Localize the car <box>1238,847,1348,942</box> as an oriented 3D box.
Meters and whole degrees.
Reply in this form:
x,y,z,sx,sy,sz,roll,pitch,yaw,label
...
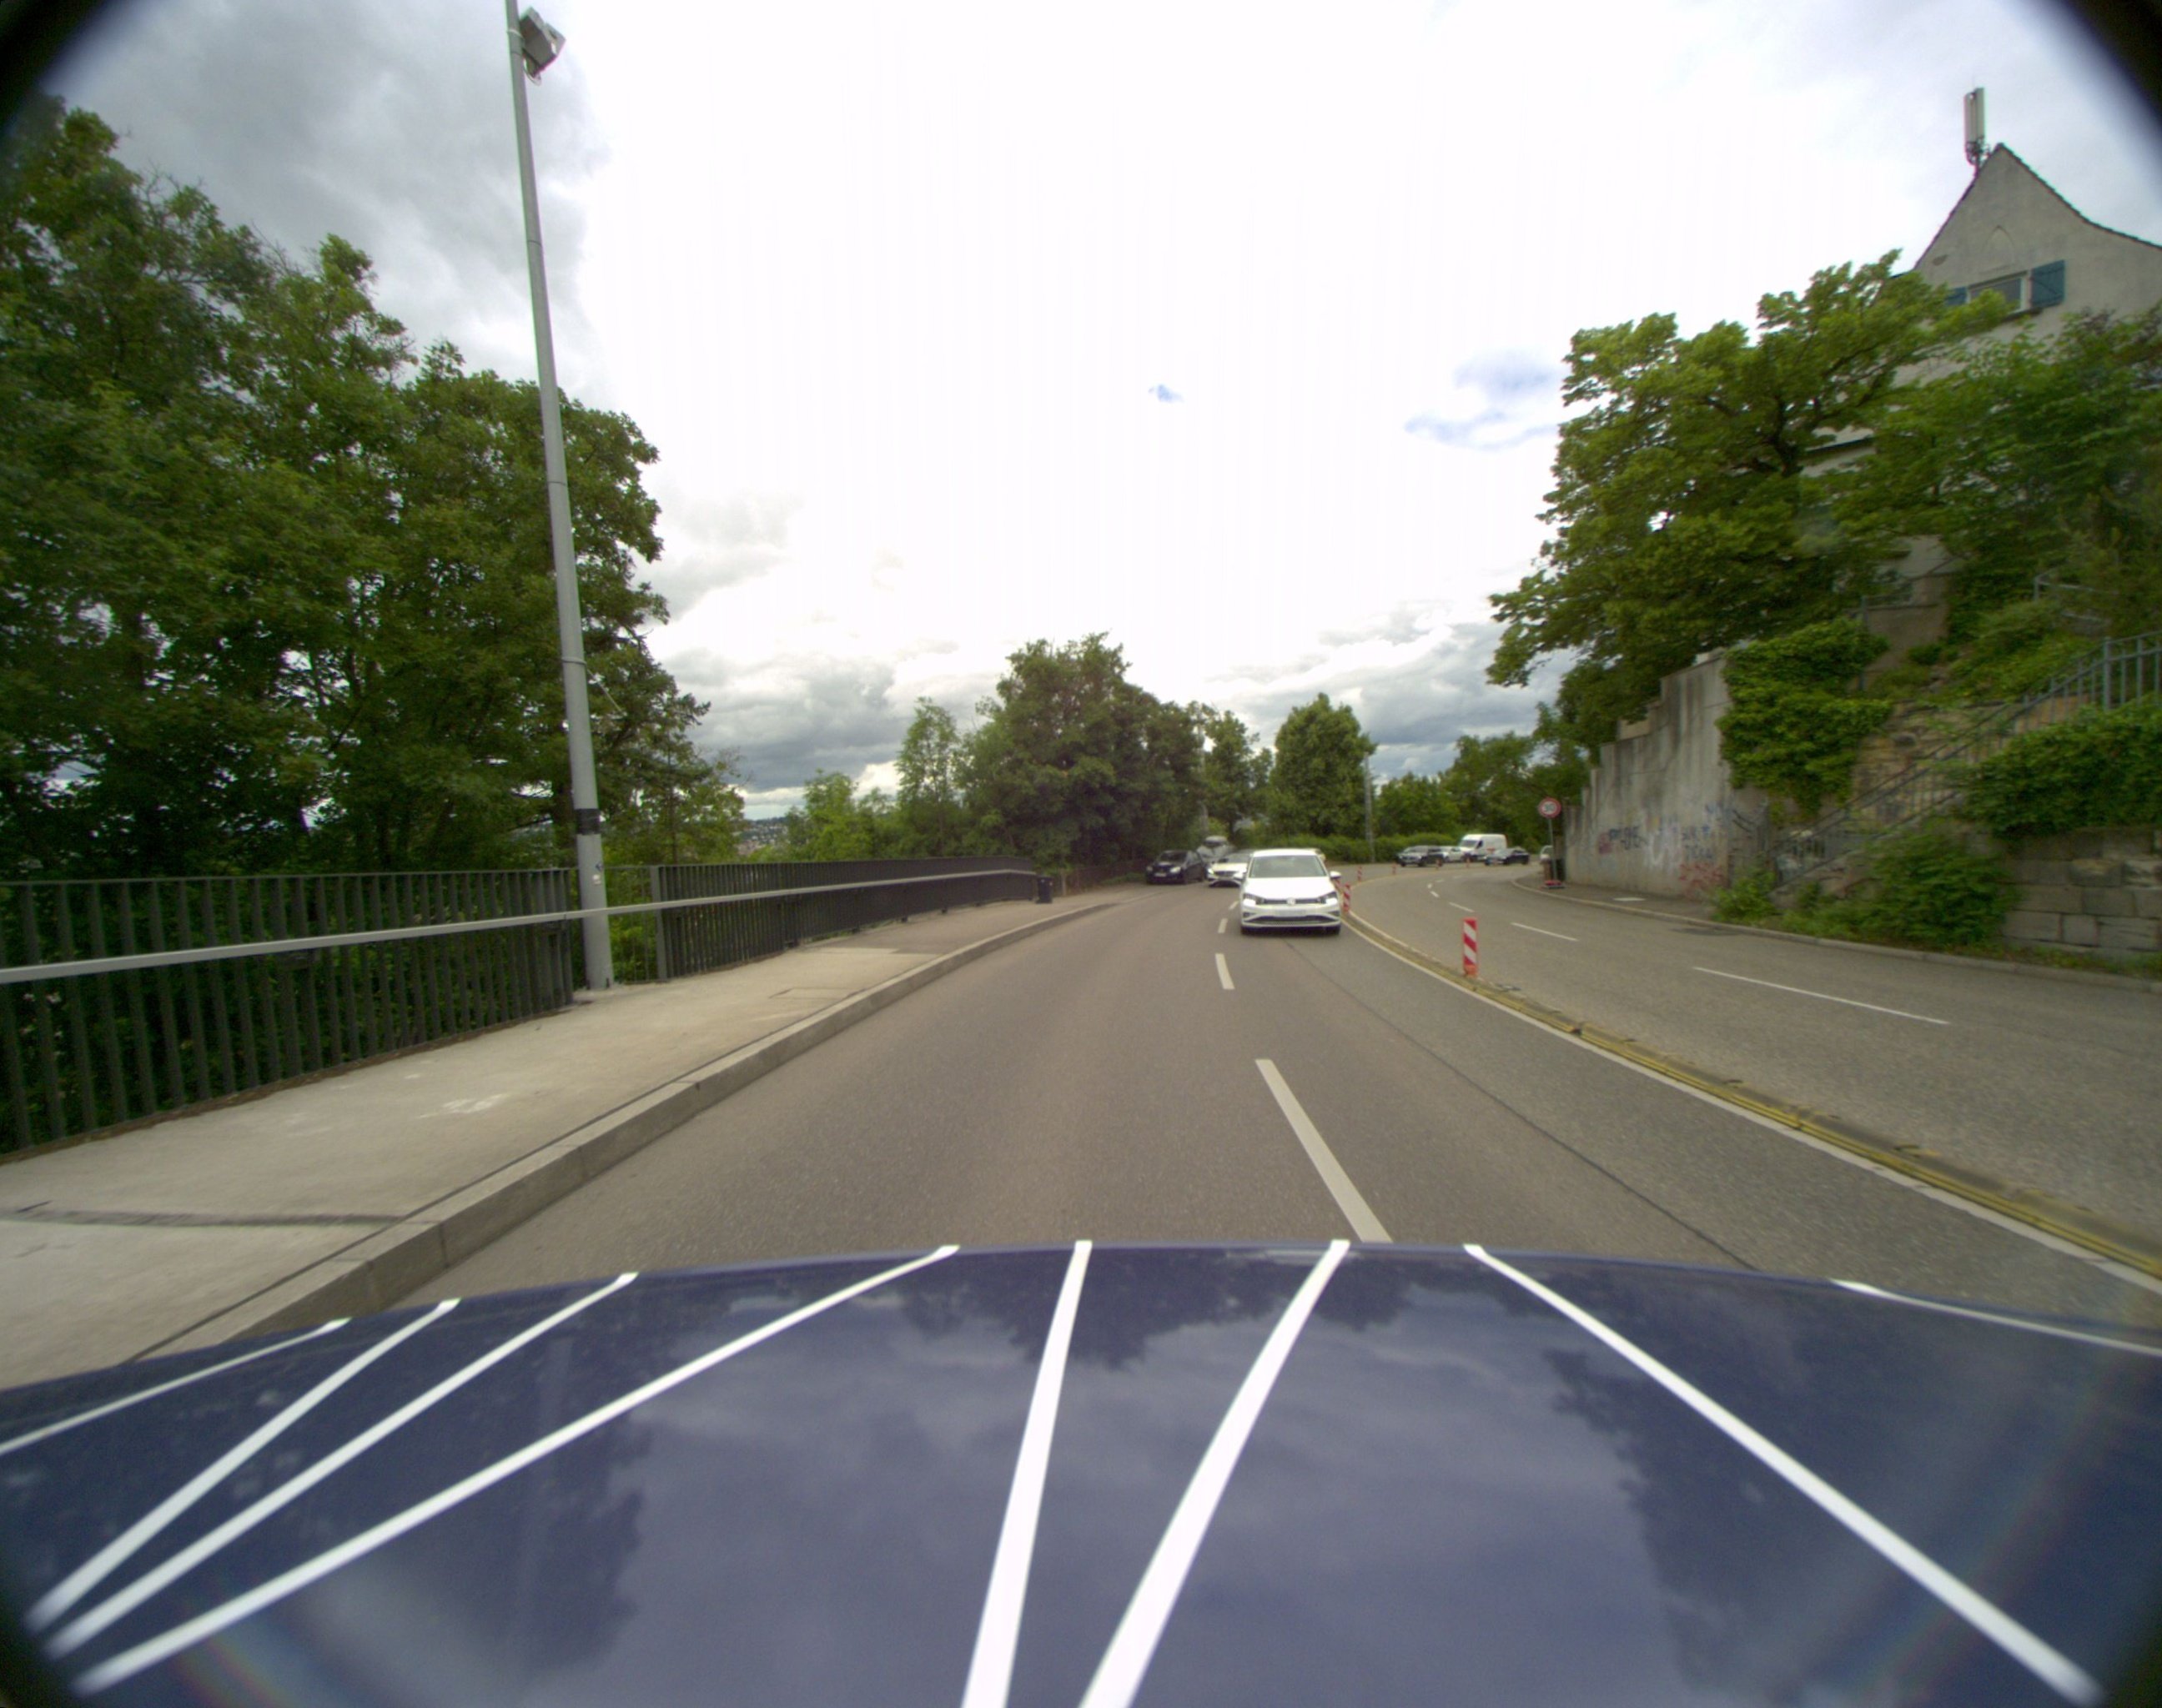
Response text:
x,y,z,sx,sy,sz,roll,pitch,yaw,label
4.091,0.683,15.267,1.824,1.571,4.359,0,1,11,car

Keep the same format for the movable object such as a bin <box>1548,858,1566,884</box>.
x,y,z,sx,sy,sz,roll,pitch,yaw,label
17.814,0.625,28.441,0.527,0.957,0.460,0,1,27,movable object such as a bin

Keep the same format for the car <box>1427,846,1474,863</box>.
x,y,z,sx,sy,sz,roll,pitch,yaw,label
33.063,0.055,67.966,4.106,1.425,1.871,-1,1,-33,car

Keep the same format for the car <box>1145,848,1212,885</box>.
x,y,z,sx,sy,sz,roll,pitch,yaw,label
4.399,0.529,33.748,1.695,1.513,3.924,-2,-1,26,car

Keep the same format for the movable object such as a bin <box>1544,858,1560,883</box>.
x,y,z,sx,sy,sz,roll,pitch,yaw,label
18.806,0.657,30.331,0.527,0.957,0.431,0,1,27,movable object such as a bin

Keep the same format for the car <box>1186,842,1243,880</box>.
x,y,z,sx,sy,sz,roll,pitch,yaw,label
6.896,0.303,38.899,1.694,1.821,4.411,2,2,26,car

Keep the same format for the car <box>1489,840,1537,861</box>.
x,y,z,sx,sy,sz,roll,pitch,yaw,label
36.245,-0.306,63.751,4.148,1.485,1.920,-4,2,-35,car

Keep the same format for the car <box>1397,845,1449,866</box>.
x,y,z,sx,sy,sz,roll,pitch,yaw,label
26.234,0.125,58.296,4.149,1.485,1.897,-2,1,-37,car

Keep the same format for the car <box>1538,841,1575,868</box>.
x,y,z,sx,sy,sz,roll,pitch,yaw,label
34.413,0.016,54.960,1.994,1.818,5.156,0,1,35,car

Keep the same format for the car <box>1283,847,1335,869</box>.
x,y,z,sx,sy,sz,roll,pitch,yaw,label
16.015,0.225,53.209,1.929,1.425,4.008,1,2,43,car

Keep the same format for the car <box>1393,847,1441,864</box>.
x,y,z,sx,sy,sz,roll,pitch,yaw,label
28.410,0.111,64.240,4.107,1.425,1.929,-1,1,-37,car

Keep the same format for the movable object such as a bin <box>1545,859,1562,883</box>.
x,y,z,sx,sy,sz,roll,pitch,yaw,label
18.570,0.650,29.864,0.527,0.925,0.482,0,1,27,movable object such as a bin

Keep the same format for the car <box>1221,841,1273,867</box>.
x,y,z,sx,sy,sz,roll,pitch,yaw,label
9.674,0.007,44.035,1.929,1.425,4.007,-1,0,28,car

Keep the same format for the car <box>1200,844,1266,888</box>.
x,y,z,sx,sy,sz,roll,pitch,yaw,label
6.597,0.462,32.674,1.995,1.708,4.006,1,1,23,car

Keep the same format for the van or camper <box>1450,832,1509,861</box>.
x,y,z,sx,sy,sz,roll,pitch,yaw,label
37.323,-0.685,71.144,5.430,2.613,2.262,-1,1,-29,van or camper
